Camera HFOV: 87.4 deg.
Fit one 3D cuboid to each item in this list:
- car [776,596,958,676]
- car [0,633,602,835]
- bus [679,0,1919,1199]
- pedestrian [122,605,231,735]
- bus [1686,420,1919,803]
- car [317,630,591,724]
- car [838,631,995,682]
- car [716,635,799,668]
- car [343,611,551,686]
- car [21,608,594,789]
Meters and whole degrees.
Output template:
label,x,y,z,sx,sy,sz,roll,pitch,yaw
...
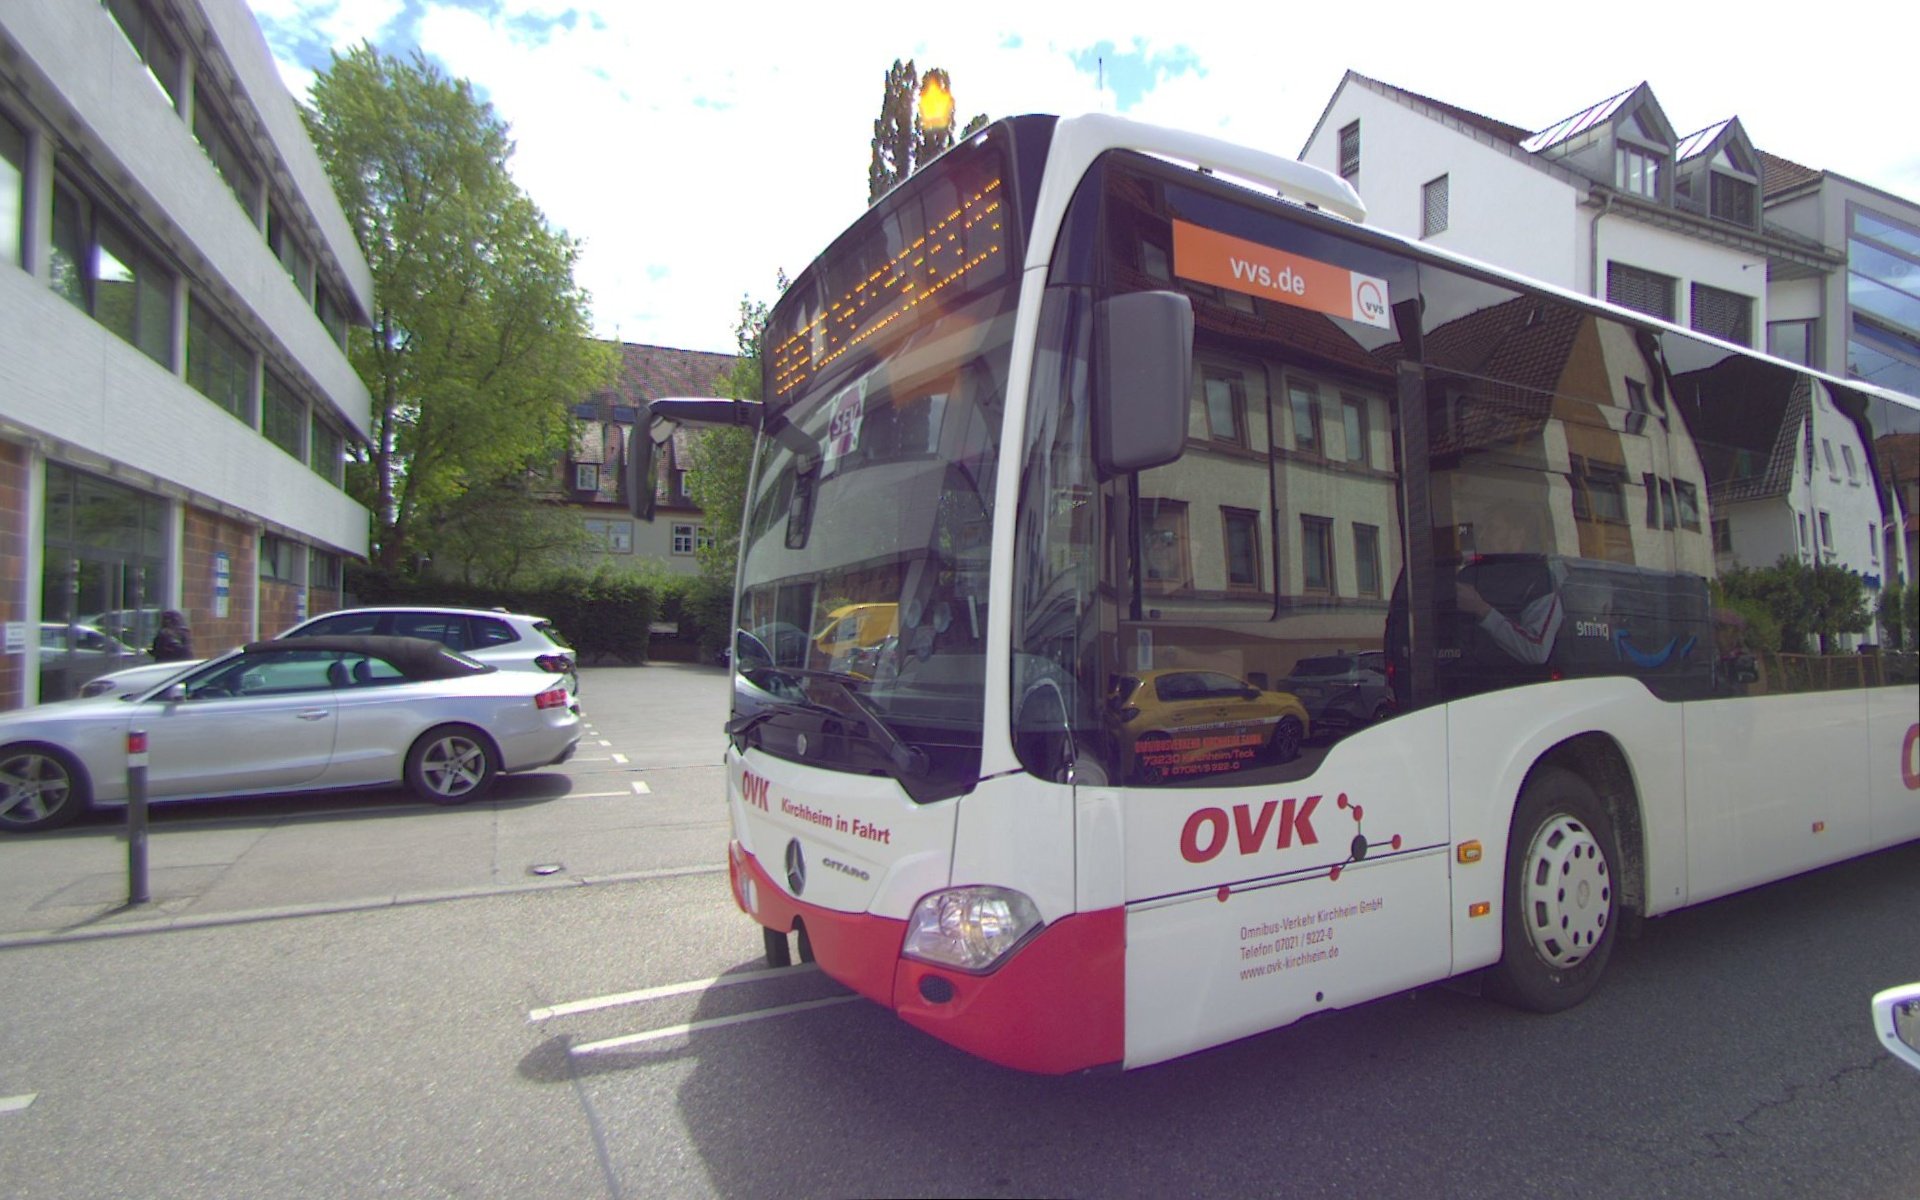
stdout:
label,x,y,z,sx,sy,sz,roll,pitch,yaw
car,-3.160,1.271,34.505,5.898,2.563,2.055,1,-3,-26
car,-5.648,0.984,8.488,4.789,1.376,1.946,1,-2,-25
bus,3.686,0.008,6.113,10.070,3.205,2.668,1,-2,-32
pedestrian,-10.670,0.943,13.721,0.981,1.693,0.716,1,-3,-23
bus,11.328,0.179,10.720,7.970,3.205,2.704,1,-2,-29
car,-9.458,1.371,19.122,4.435,1.599,1.916,1,-2,-26
car,-1.313,1.691,30.542,4.445,1.457,1.808,1,-3,-24
car,-7.937,2.002,39.419,2.993,1.200,1.413,1,1,-22
car,-14.208,1.334,28.218,5.016,1.967,1.964,1,-1,-23
car,-6.599,0.971,10.943,4.858,1.640,1.948,0,-4,-23
